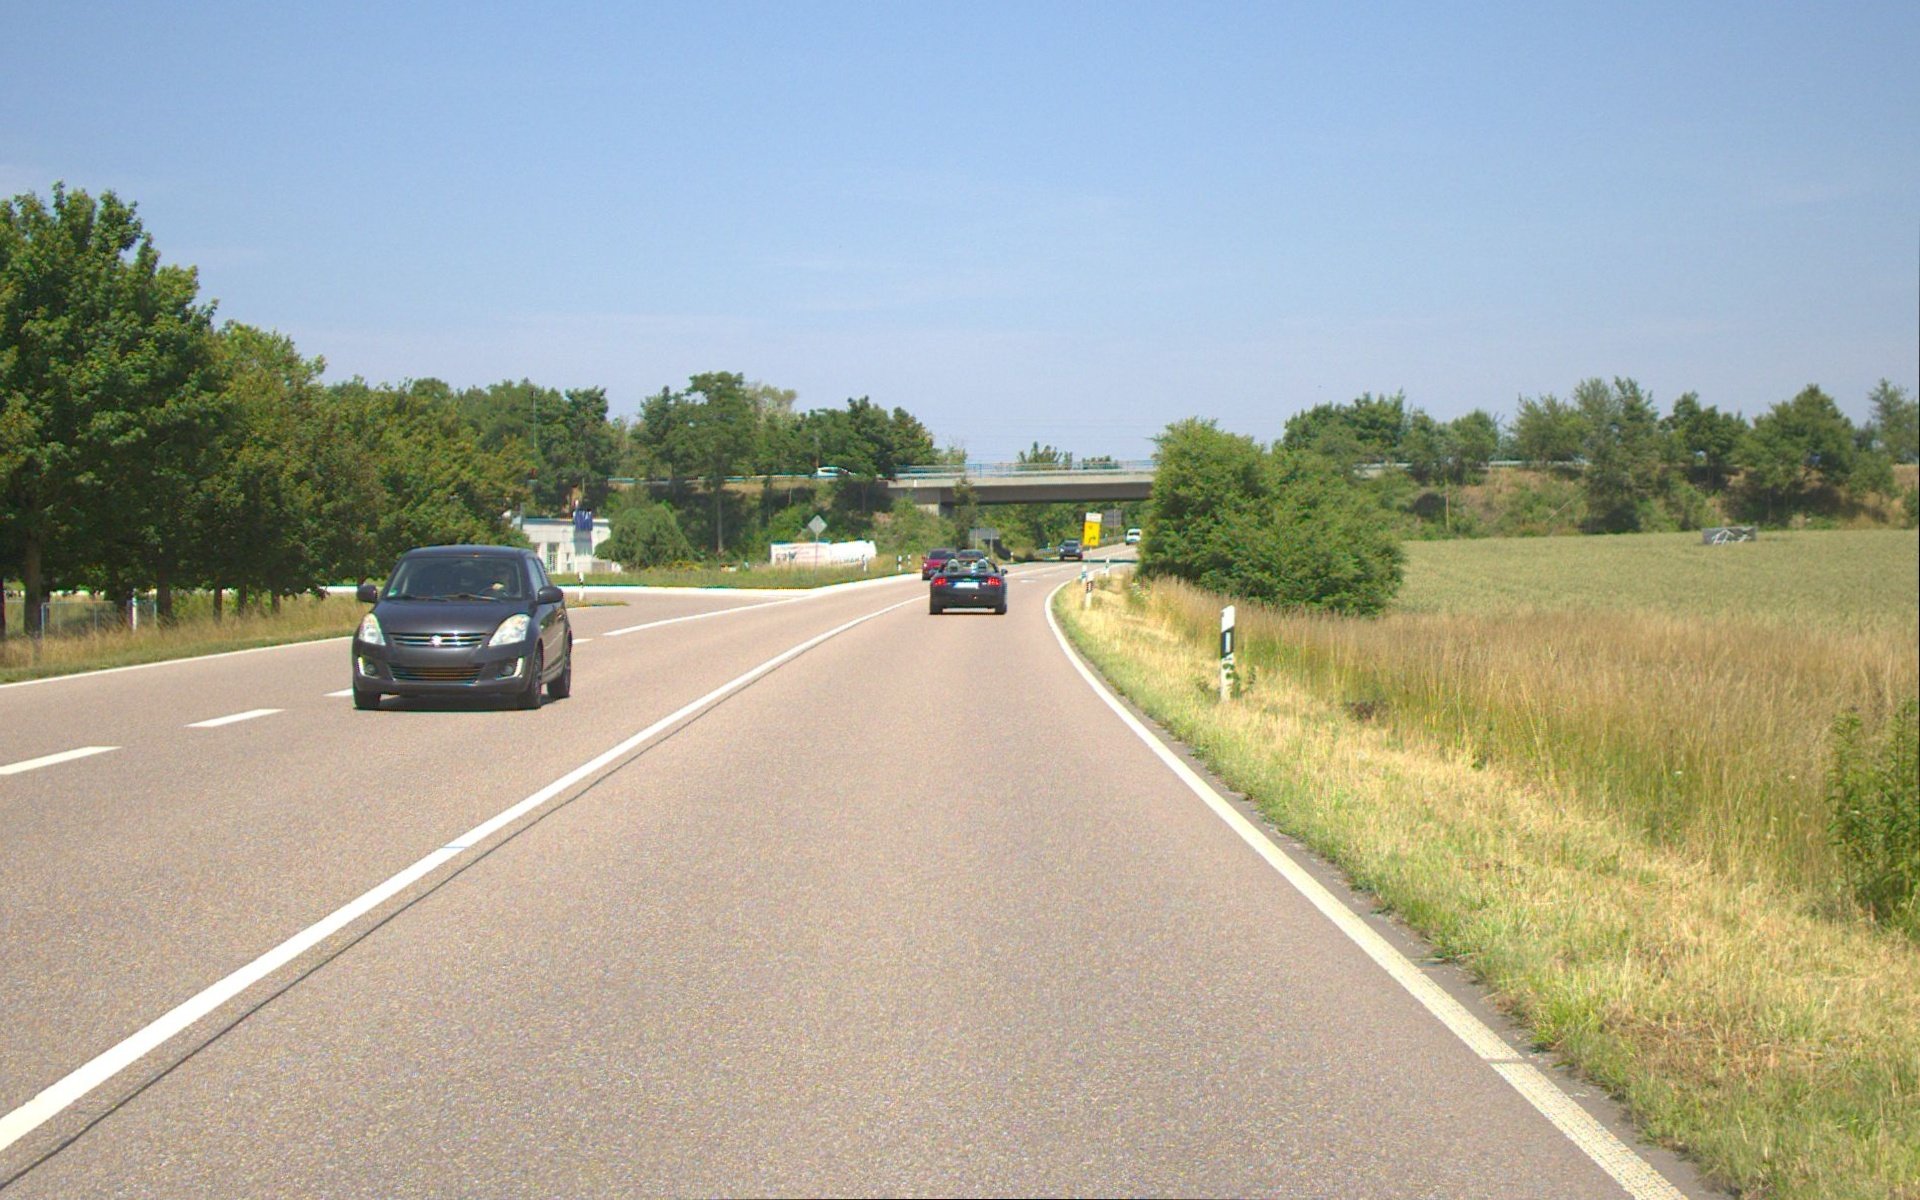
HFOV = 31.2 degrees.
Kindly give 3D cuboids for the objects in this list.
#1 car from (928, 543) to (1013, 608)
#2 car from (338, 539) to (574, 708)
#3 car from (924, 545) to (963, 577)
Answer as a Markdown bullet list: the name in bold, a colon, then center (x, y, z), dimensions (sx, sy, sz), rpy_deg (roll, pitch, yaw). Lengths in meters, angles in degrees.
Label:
- **car**: center (0.226, -0.580, 79.972), dimensions (1.814, 1.436, 4.000), rpy_deg (1, 1, -2)
- **car**: center (-4.710, 0.173, 32.571), dimensions (1.680, 1.494, 3.886), rpy_deg (0, 1, 0)
- **car**: center (-0.749, -1.820, 158.803), dimensions (1.742, 1.407, 4.625), rpy_deg (1, 1, 0)
